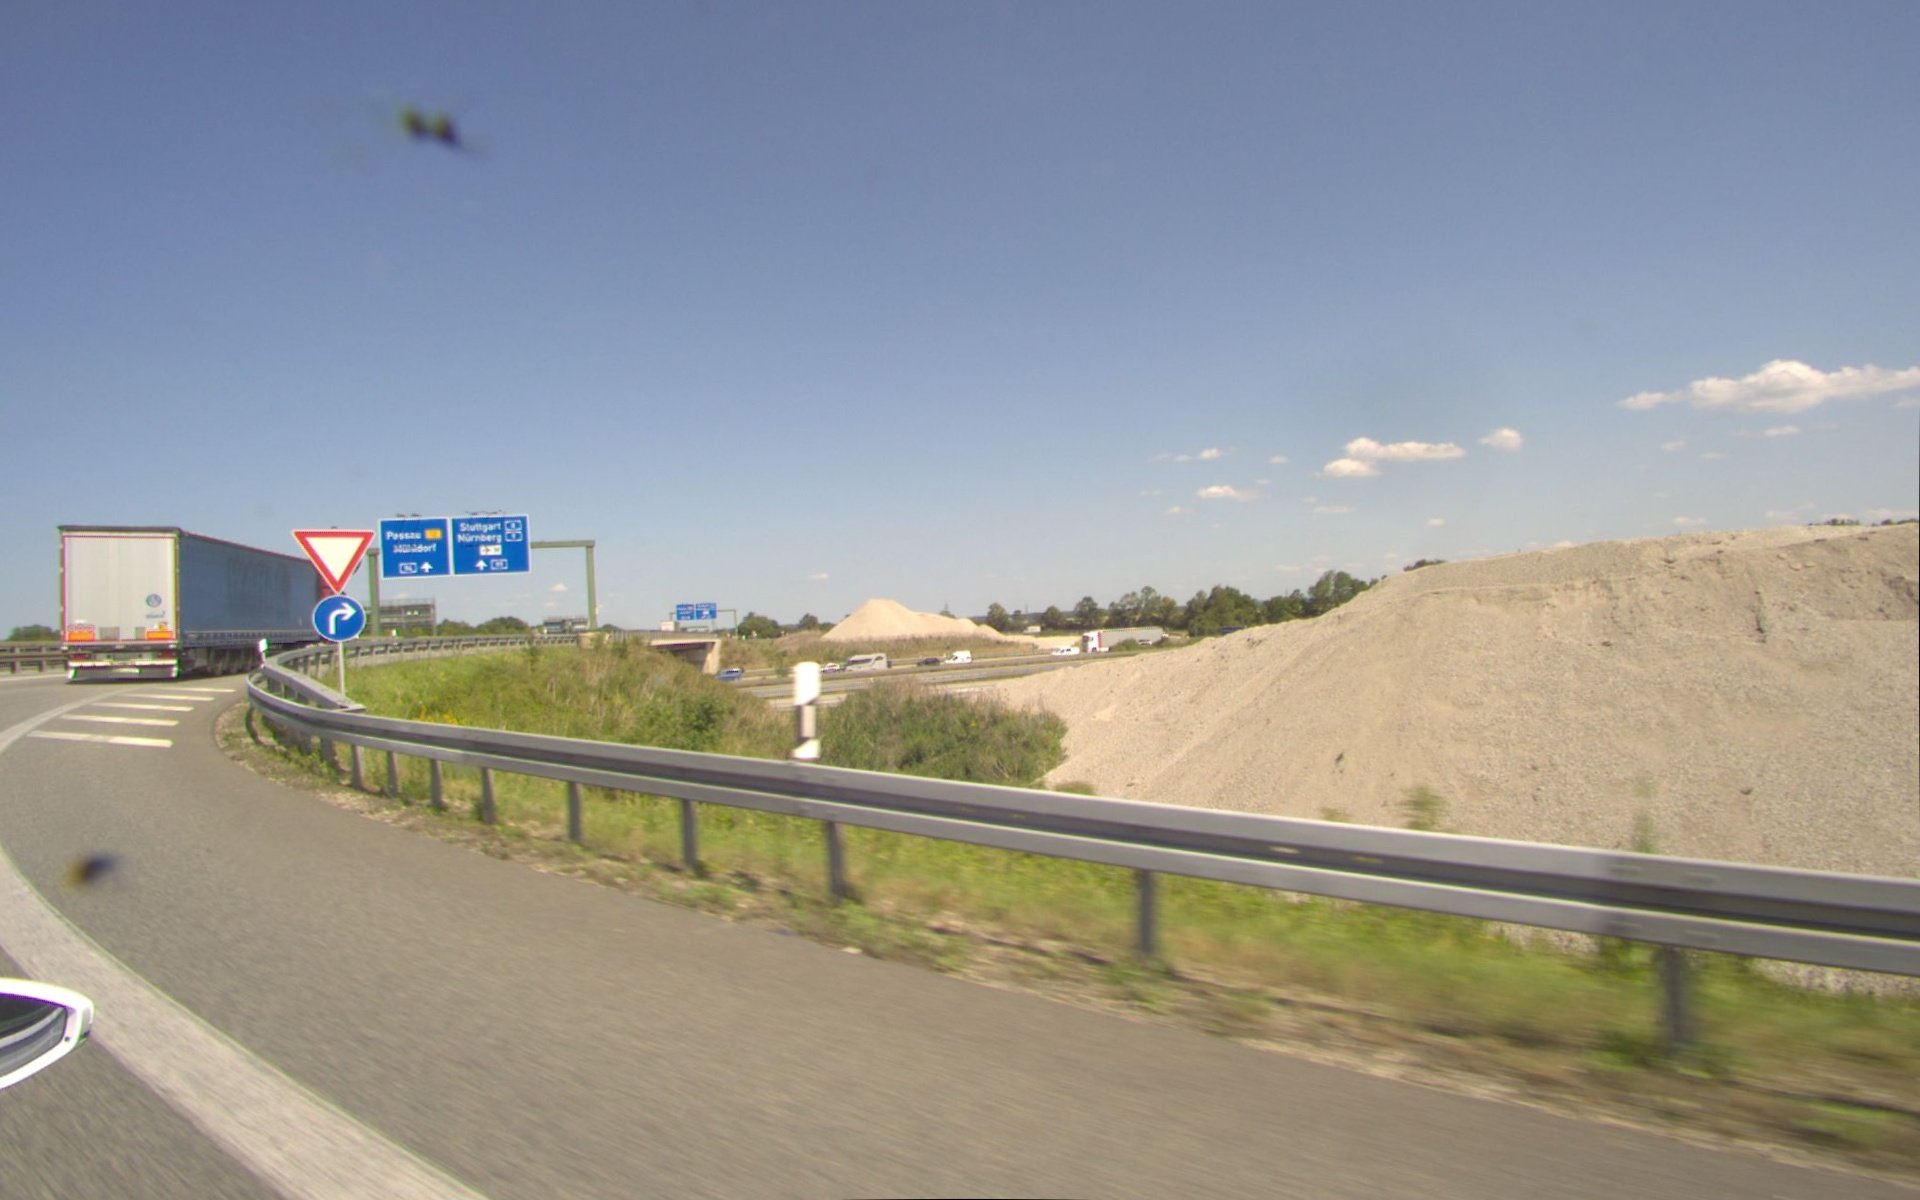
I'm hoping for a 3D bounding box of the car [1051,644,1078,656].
[{"bbox_3d":[18.199,8.658,174.482,4.334,2.039,1.996,0,-2,-20],"label":"car"}]

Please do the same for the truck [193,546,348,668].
[{"bbox_3d":[-25.962,0.394,38.128,2.870,4.197,6.918,-1,-2,-17],"label":"truck"}]

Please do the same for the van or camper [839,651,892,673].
[{"bbox_3d":[-15.510,10.147,164.664,8.018,3.031,2.982,-3,-4,-20],"label":"van or camper"}]

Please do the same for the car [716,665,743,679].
[{"bbox_3d":[-36.757,11.416,159.674,3.936,2.036,1.997,0,-6,-24],"label":"car"}]

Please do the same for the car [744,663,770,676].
[{"bbox_3d":[-34.161,11.692,168.429,3.931,2.039,1.996,-1,-2,-19],"label":"car"}]

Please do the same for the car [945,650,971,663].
[{"bbox_3d":[-0.288,9.421,166.783,3.929,2.039,1.801,0,-1,-17],"label":"car"}]

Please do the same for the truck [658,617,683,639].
[{"bbox_3d":[-57.722,5.653,200.073,3.484,4.196,11.257,1,-3,-10],"label":"truck"}]

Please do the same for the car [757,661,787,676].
[{"bbox_3d":[-27.827,10.110,148.207,3.936,2.036,1.874,0,-6,-24],"label":"car"}]

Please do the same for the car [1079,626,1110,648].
[{"bbox_3d":[24.964,6.880,185.493,5.071,4.014,2.478,0,-2,-20],"label":"car"}]

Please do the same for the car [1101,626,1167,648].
[{"bbox_3d":[32.748,6.929,188.282,12.790,4.014,2.478,0,-2,-20],"label":"car"}]

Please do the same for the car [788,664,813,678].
[{"bbox_3d":[-27.238,12.126,171.203,3.931,2.038,1.884,-2,-3,-20],"label":"car"}]

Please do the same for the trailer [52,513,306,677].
[{"bbox_3d":[-23.754,0.145,31.406,2.872,4.197,11.238,0,-3,-20],"label":"trailer"}]
